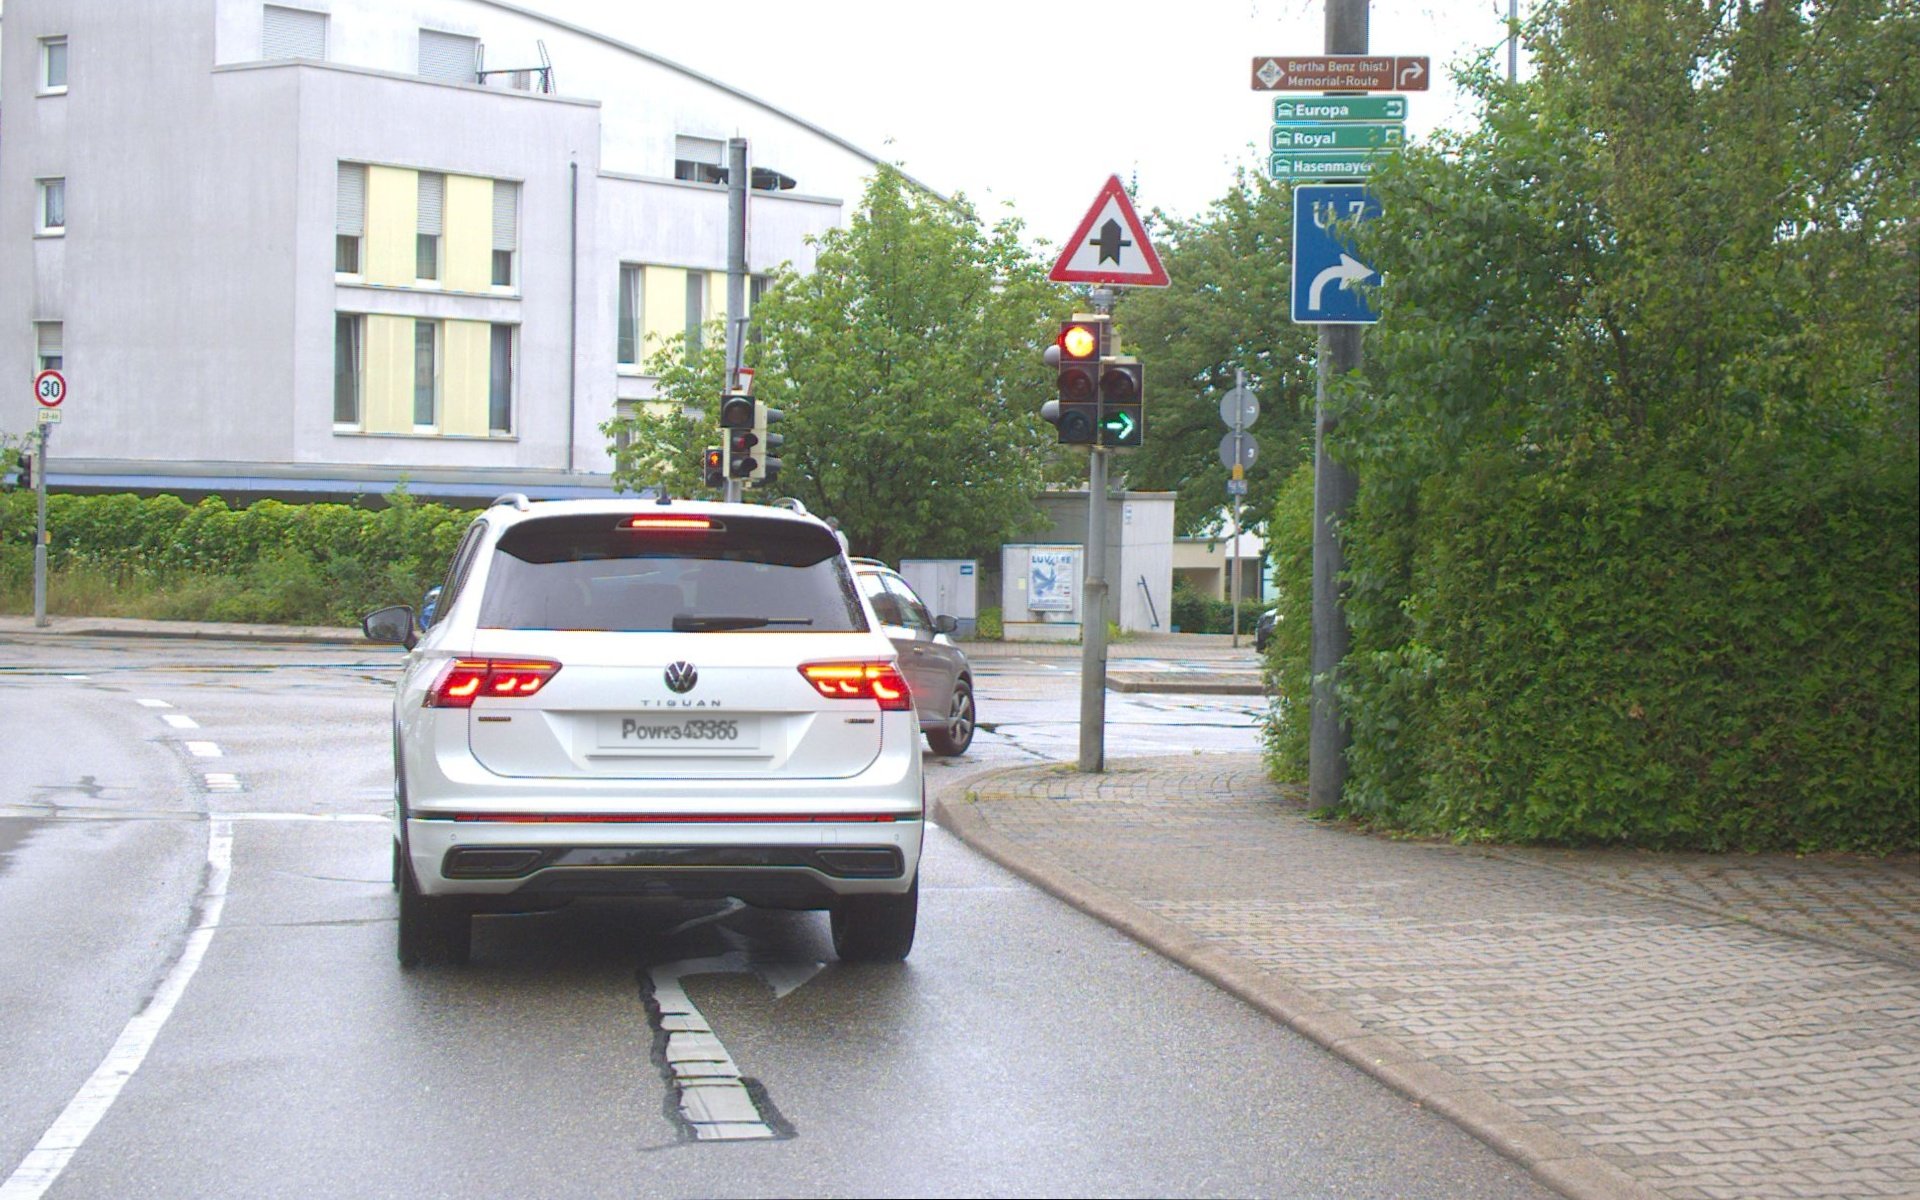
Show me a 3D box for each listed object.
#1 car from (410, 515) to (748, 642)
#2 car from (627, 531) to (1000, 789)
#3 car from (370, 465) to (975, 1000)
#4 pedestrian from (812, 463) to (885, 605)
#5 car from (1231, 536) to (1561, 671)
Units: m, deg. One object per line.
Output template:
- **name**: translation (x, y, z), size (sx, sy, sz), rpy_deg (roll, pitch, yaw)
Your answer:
- **car**: translation (-5.048, -0.314, 45.704), size (3.990, 1.550, 1.999), rpy_deg (1, 3, 17)
- **car**: translation (-0.994, 0.364, 25.505), size (1.766, 1.504, 3.999), rpy_deg (4, 4, 11)
- **car**: translation (-1.283, 0.413, 13.310), size (1.920, 1.716, 4.266), rpy_deg (1, 1, -10)
- **pedestrian**: translation (-1.599, -0.959, 49.431), size (0.799, 2.006, 0.849), rpy_deg (1, 3, 16)
- **car**: translation (5.711, 0.029, 45.369), size (3.986, 1.546, 2.001), rpy_deg (1, 4, -3)
